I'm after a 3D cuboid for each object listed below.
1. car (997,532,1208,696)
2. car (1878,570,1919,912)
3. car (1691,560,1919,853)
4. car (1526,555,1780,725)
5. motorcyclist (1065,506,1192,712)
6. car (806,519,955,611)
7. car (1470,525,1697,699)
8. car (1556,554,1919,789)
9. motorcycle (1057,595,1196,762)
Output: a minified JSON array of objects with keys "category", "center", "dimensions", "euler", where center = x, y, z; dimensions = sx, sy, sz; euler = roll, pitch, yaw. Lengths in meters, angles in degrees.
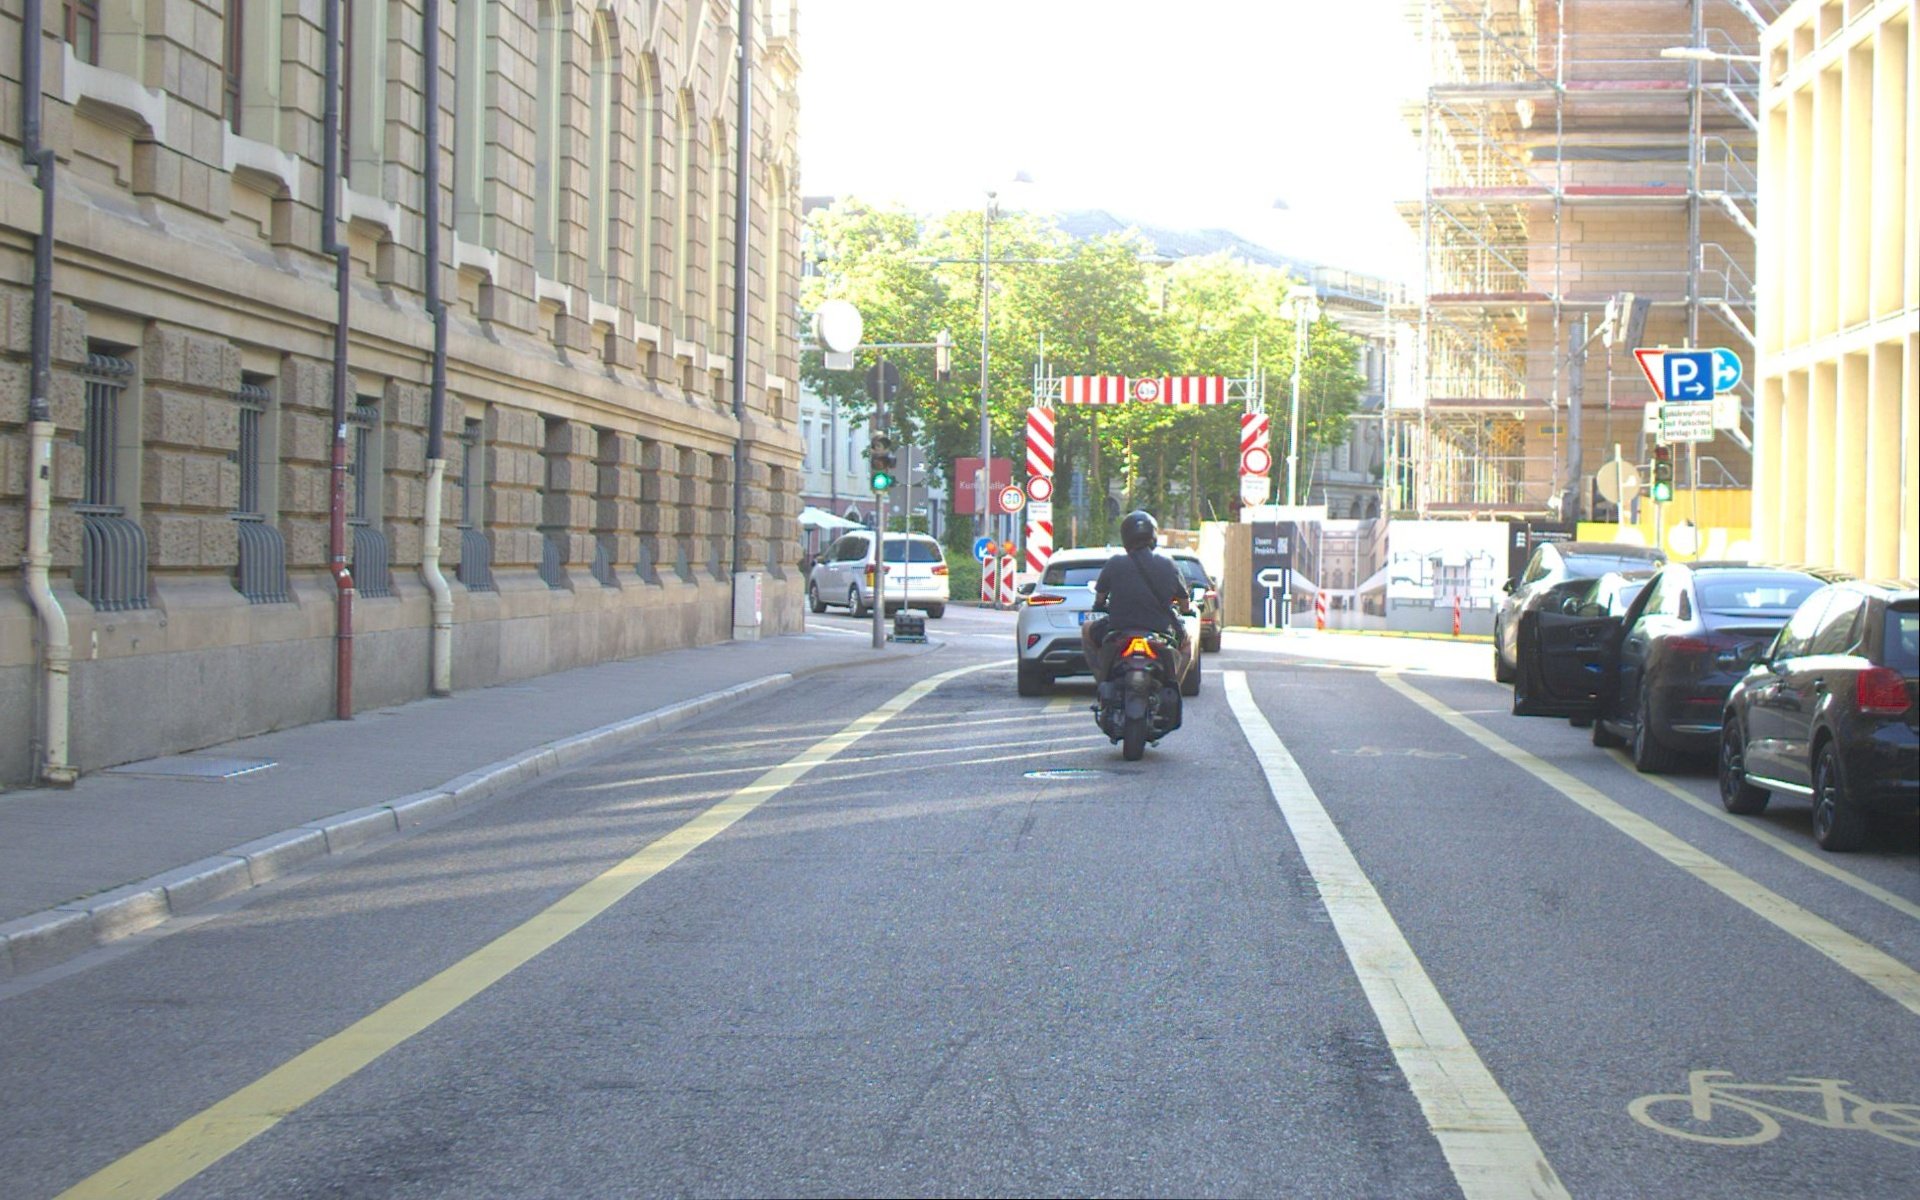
[{"category":"car","center":[1.532,0.109,35.470],"dimensions":[1.823,1.536,4.262],"euler":[2,1,7]},{"category":"car","center":[5.033,0.684,13.590],"dimensions":[1.782,1.474,4.289],"euler":[2,1,3]},{"category":"car","center":[5.385,0.532,19.426],"dimensions":[1.781,1.474,4.288],"euler":[0,0,3]},{"category":"car","center":[6.331,0.340,31.846],"dimensions":[1.825,1.394,4.478],"euler":[2,0,6]},{"category":"motorcyclist","center":[1.176,0.062,23.949],"dimensions":[0.867,1.422,0.455],"euler":[0,0,4]},{"category":"car","center":[-1.656,-0.740,69.827],"dimensions":[1.993,1.659,4.360],"euler":[-2,3,-15]},{"category":"car","center":[6.820,0.073,38.058],"dimensions":[1.825,1.693,4.666],"euler":[2,2,3]},{"category":"car","center":[5.635,0.453,25.299],"dimensions":[1.825,1.496,4.736],"euler":[2,1,3]},{"category":"motorcycle","center":[1.170,0.523,23.814],"dimensions":[0.872,1.105,1.839],"euler":[0,0,5]}]
